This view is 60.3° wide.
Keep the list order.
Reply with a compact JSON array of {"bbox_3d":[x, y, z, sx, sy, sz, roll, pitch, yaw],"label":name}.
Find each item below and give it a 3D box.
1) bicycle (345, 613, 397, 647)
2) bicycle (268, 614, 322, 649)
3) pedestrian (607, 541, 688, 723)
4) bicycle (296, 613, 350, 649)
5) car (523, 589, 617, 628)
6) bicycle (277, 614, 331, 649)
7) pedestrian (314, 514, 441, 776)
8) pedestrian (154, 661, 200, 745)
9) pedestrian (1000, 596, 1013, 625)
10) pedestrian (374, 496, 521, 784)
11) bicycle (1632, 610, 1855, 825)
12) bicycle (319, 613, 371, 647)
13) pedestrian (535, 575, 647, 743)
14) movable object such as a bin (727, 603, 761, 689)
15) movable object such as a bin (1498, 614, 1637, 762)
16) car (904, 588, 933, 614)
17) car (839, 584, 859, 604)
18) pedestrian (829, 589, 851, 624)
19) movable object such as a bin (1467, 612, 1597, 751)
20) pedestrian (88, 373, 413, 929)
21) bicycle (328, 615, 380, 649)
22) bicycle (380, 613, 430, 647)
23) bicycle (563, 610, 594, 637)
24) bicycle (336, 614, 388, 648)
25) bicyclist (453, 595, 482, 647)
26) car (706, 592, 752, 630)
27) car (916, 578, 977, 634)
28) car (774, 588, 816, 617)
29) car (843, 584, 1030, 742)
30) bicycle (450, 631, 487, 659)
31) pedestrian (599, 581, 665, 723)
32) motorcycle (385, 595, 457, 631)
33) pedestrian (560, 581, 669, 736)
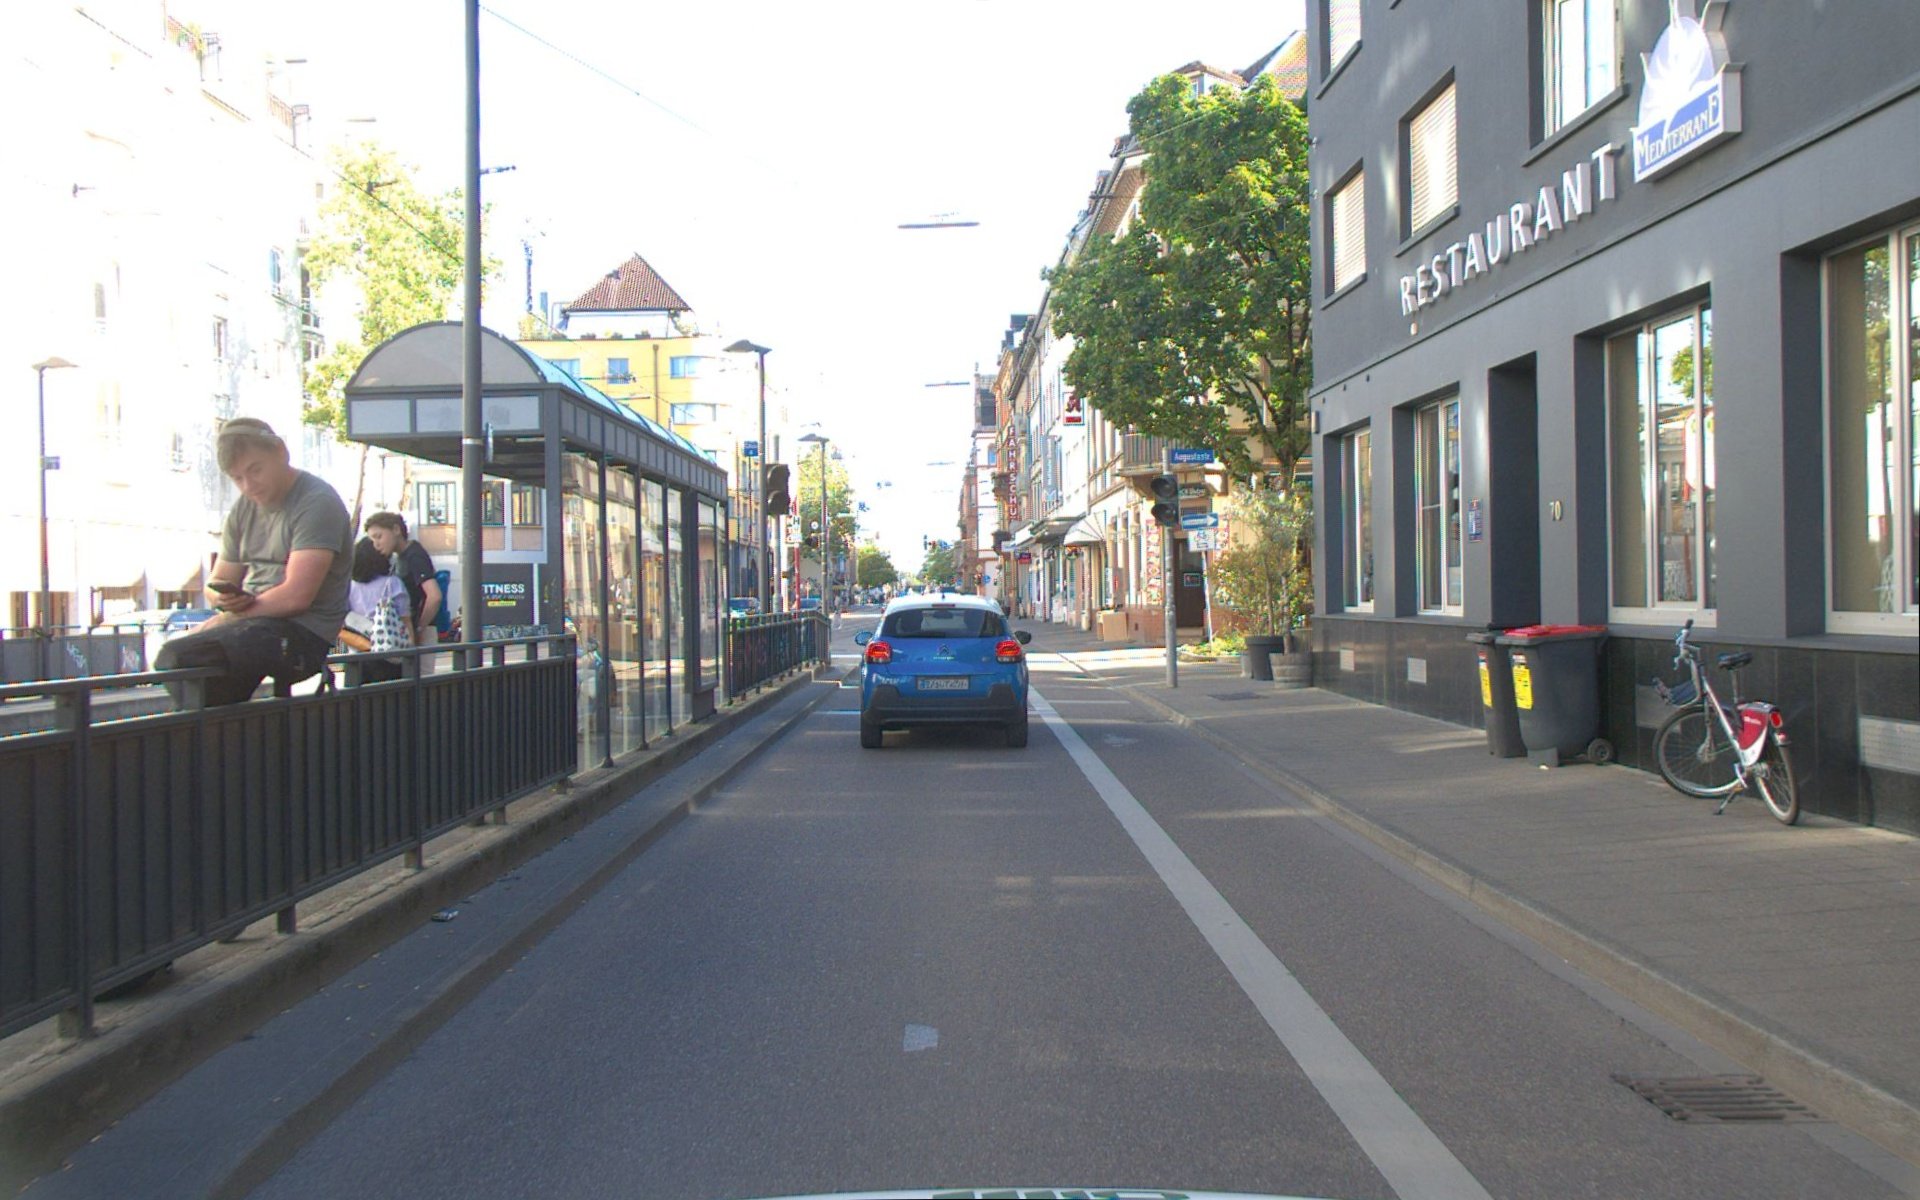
[{"bbox_3d":[-17.378,0.884,48.795,0.384,0.957,1.490,-1,1,34],"label":"bicycle"},{"bbox_3d":[-19.423,0.913,48.323,0.384,0.957,1.490,-1,1,34],"label":"bicycle"},{"bbox_3d":[-3.160,0.313,16.704,0.557,1.781,0.712,-2,0,-30],"label":"pedestrian"},{"bbox_3d":[-18.296,0.886,47.522,0.384,0.957,1.490,-1,1,34],"label":"bicycle"},{"bbox_3d":[-18.039,0.371,76.660,3.909,1.704,1.956,-1,1,-5],"label":"car"},{"bbox_3d":[-19.057,0.905,48.062,0.384,0.957,1.490,-1,1,34],"label":"bicycle"},{"bbox_3d":[-3.654,0.270,10.371,0.575,1.589,0.468,-1,0,35],"label":"pedestrian"},{"bbox_3d":[-15.338,2.009,32.403,0.569,1.586,0.684,-1,1,-2],"label":"pedestrian"},{"bbox_3d":[2.690,0.589,95.380,0.679,1.680,0.680,-1,0,-2],"label":"pedestrian"},{"bbox_3d":[-3.352,0.249,10.821,0.704,1.808,0.563,-1,0,35],"label":"pedestrian"},{"bbox_3d":[4.680,0.654,10.009,0.450,1.142,1.773,-3,0,-1],"label":"bicycle"},{"bbox_3d":[-18.402,0.888,49.520,0.384,0.957,1.490,-1,1,34],"label":"bicycle"},{"bbox_3d":[-2.956,0.459,13.296,0.696,1.294,0.657,-2,0,1],"label":"pedestrian"},{"bbox_3d":[-2.641,0.557,20.256,0.339,1.025,0.404,-1,0,0],"label":"movable object such as a bin"},{"bbox_3d":[4.747,0.672,12.962,0.733,1.054,0.753,-5,0,-1],"label":"movable object such as a bin"},{"bbox_3d":[-2.889,0.091,115.536,1.953,1.773,3.999,0,-1,-1],"label":"car"},{"bbox_3d":[-11.484,-0.598,171.149,1.953,2.049,3.998,0,-1,-2],"label":"car"},{"bbox_3d":[-5.823,0.293,80.397,0.829,1.683,0.691,-1,0,-29],"label":"pedestrian"},{"bbox_3d":[4.736,0.661,13.730,0.733,1.054,0.753,-5,0,-1],"label":"movable object such as a bin"},{"bbox_3d":[-2.377,0.161,5.643,0.623,1.727,0.934,0,-1,6],"label":"pedestrian"},{"bbox_3d":[-18.057,0.936,49.283,0.384,0.957,1.490,-1,1,34],"label":"bicycle"},{"bbox_3d":[-16.881,0.907,50.328,0.384,0.957,1.490,-1,1,34],"label":"bicycle"},{"bbox_3d":[-16.063,0.981,69.760,0.665,1.020,2.686,-1,1,0],"label":"bicycle"},{"bbox_3d":[-17.725,0.913,49.042,0.384,0.957,1.490,-1,1,34],"label":"bicycle"},{"bbox_3d":[-15.289,0.647,51.361,0.658,1.584,0.778,-1,0,0],"label":"bicyclist"},{"bbox_3d":[-11.038,0.503,79.208,1.718,1.643,4.825,-3,0,-3],"label":"car"},{"bbox_3d":[-0.454,0.224,54.767,1.953,1.773,3.999,0,-1,-1],"label":"car"},{"bbox_3d":[-9.406,0.126,94.556,1.911,1.512,4.000,-3,1,0],"label":"car"},{"bbox_3d":[-0.244,0.580,17.350,1.745,1.476,3.653,0,0,-1],"label":"car"},{"bbox_3d":[-15.275,1.386,51.400,0.554,0.770,1.937,-1,1,0],"label":"bicycle"},{"bbox_3d":[-3.728,0.582,18.826,0.608,1.585,0.568,-1,0,-1],"label":"pedestrian"},{"bbox_3d":[-20.314,0.475,62.332,2.463,1.311,0.667,-1,0,-4],"label":"motorcycle"},{"bbox_3d":[-2.985,0.491,14.348,0.749,1.294,0.719,-2,0,1],"label":"pedestrian"}]
